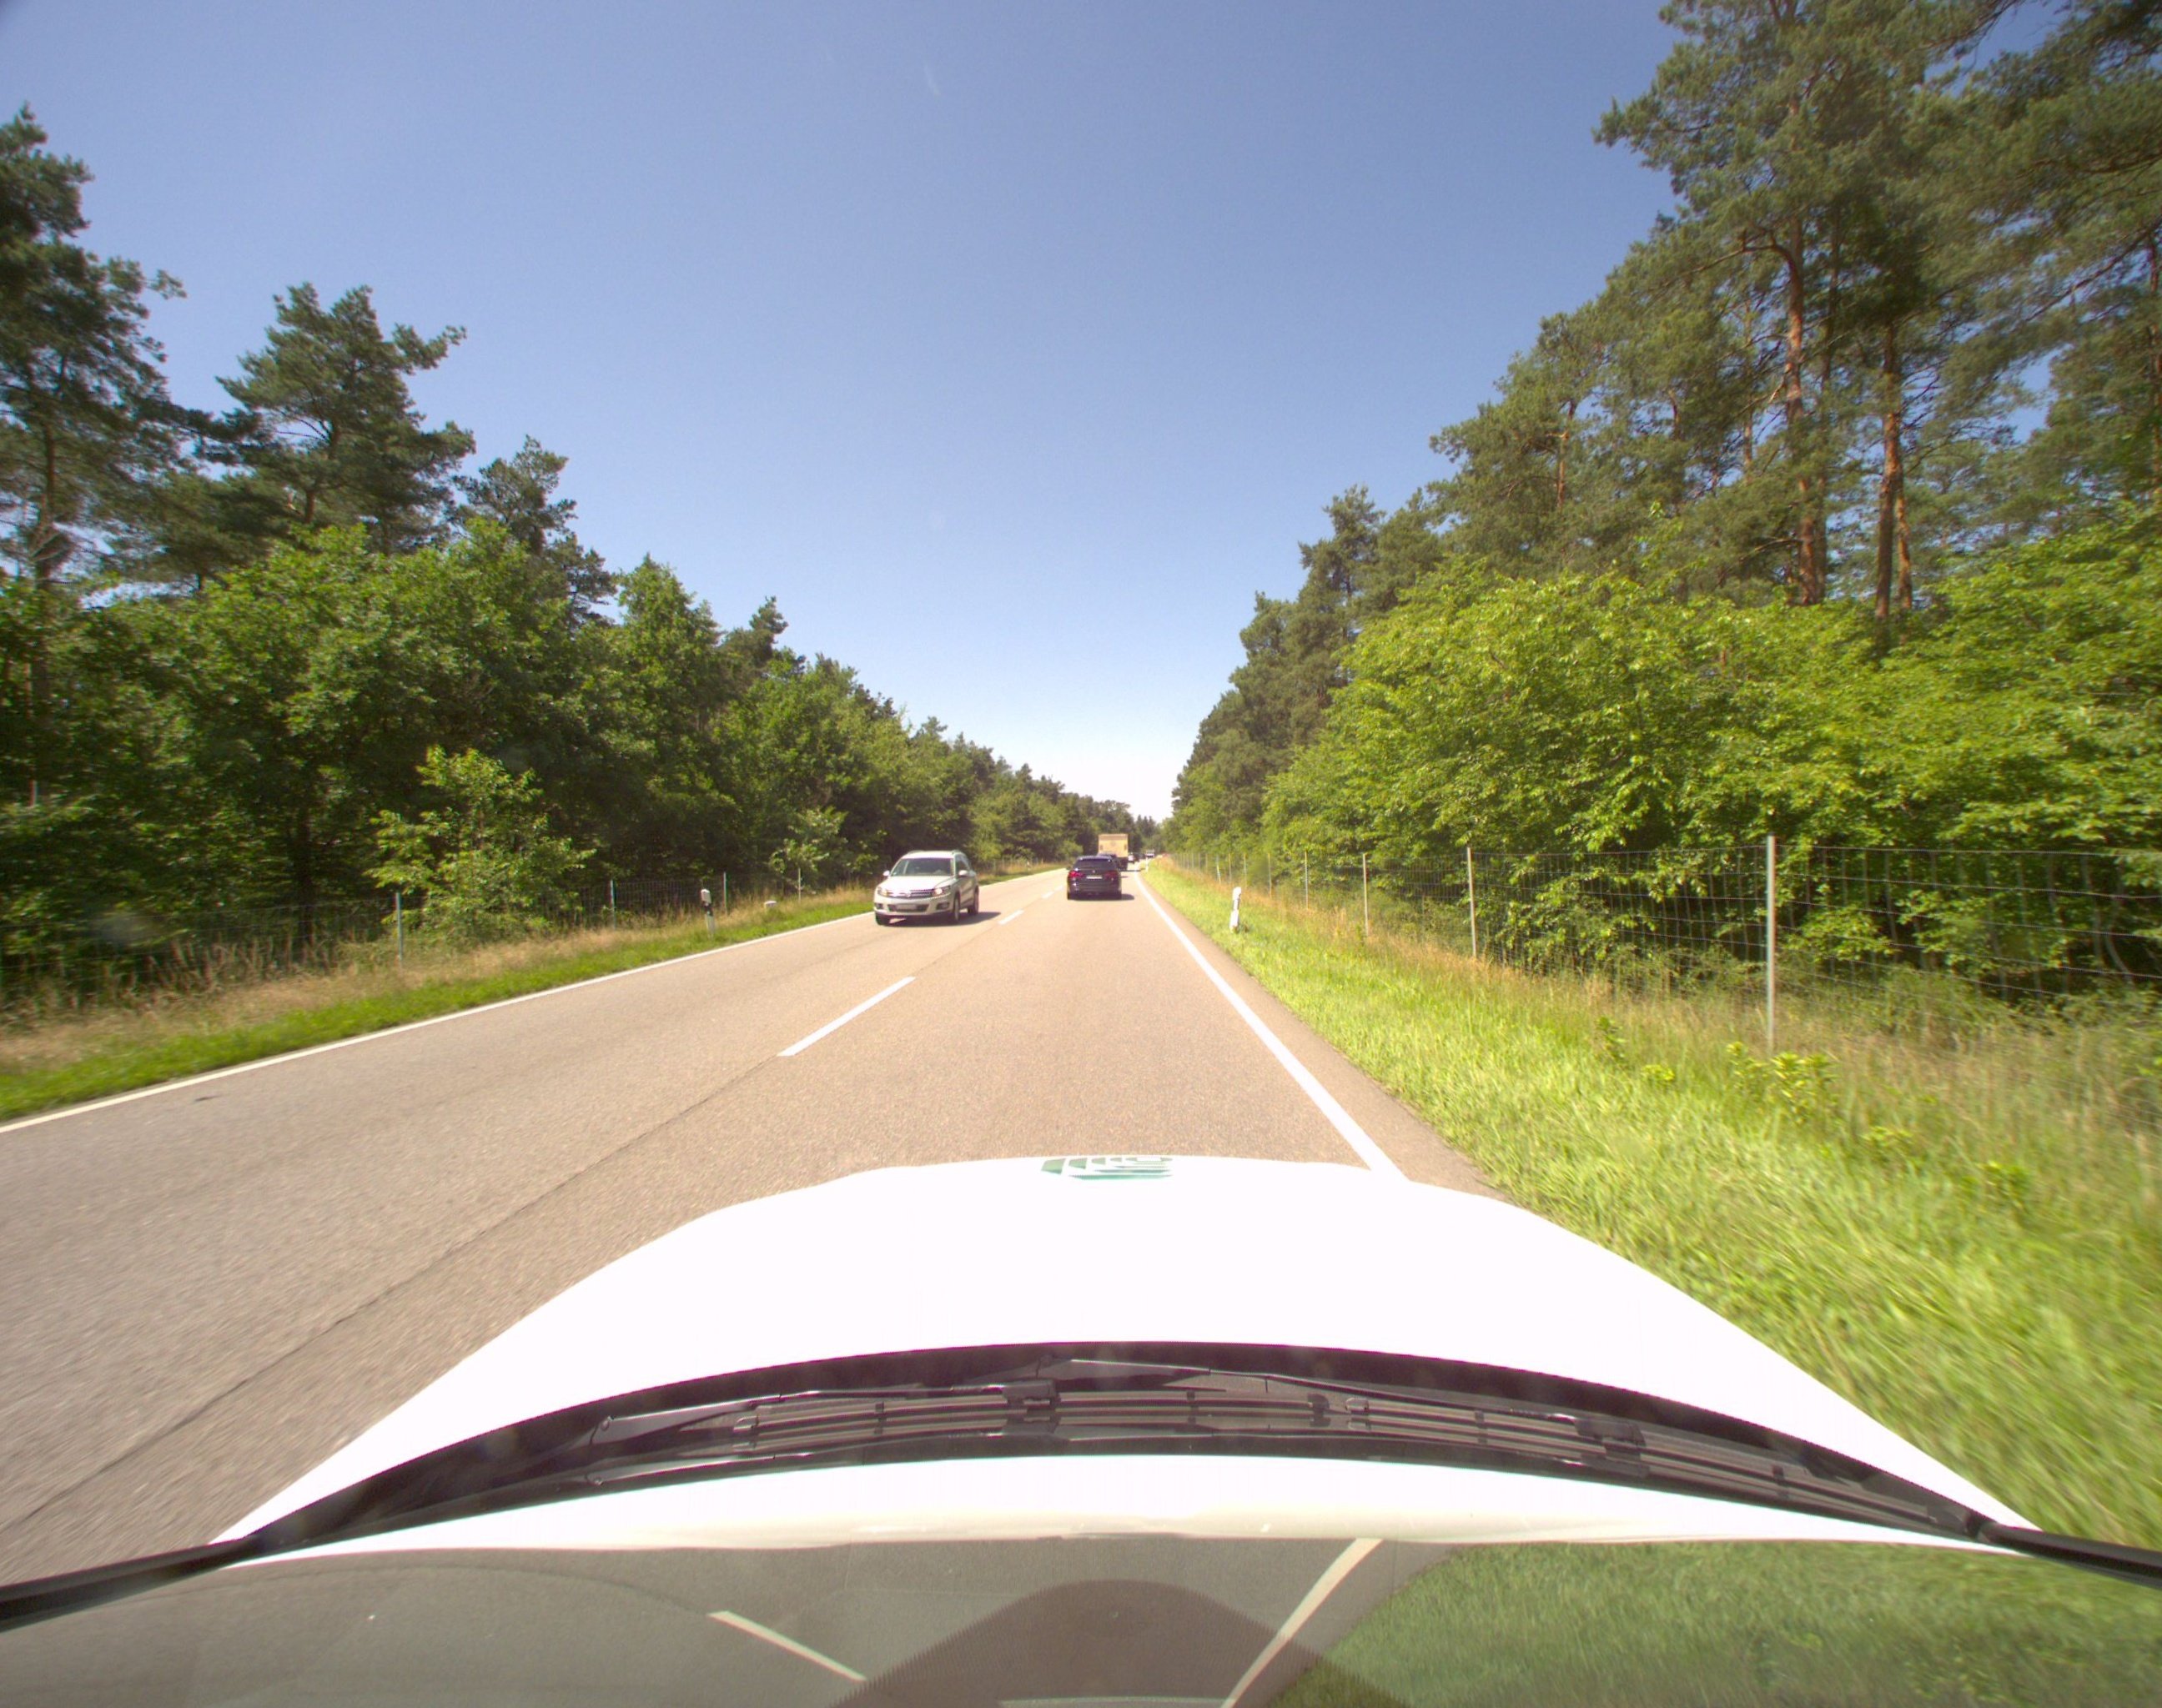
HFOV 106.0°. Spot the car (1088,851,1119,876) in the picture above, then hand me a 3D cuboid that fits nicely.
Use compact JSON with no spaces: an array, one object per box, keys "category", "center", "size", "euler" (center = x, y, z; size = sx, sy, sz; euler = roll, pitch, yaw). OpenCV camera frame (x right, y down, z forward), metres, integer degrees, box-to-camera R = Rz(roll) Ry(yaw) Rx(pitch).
[{"category":"car","center":[1.516,0.616,53.997],"size":[1.939,1.542,4.003],"euler":[-2,0,3]}]

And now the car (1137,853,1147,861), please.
[{"category":"car","center":[13.566,0.747,180.395],"size":[1.983,1.636,4.007],"euler":[-2,0,6]}]

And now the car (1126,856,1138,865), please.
[{"category":"car","center":[8.966,1.105,143.938],"size":[1.985,1.420,4.003],"euler":[-2,0,3]}]

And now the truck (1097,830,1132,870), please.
[{"category":"truck","center":[2.938,-0.374,72.783],"size":[2.955,3.387,6.440],"euler":[-1,0,1]}]

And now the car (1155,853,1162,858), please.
[{"category":"car","center":[22.389,0.473,235.181],"size":[1.784,1.354,3.939],"euler":[-1,0,10]}]

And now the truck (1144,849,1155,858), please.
[{"category":"truck","center":[17.291,-0.060,205.437],"size":[2.550,2.202,4.983],"euler":[-2,0,6]}]

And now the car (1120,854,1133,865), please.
[{"category":"car","center":[6.564,0.780,118.107],"size":[1.855,1.605,4.003],"euler":[-1,0,3]}]

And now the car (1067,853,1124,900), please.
[{"category":"car","center":[0.507,0.736,28.518],"size":[1.814,1.470,4.001],"euler":[-1,0,1]}]

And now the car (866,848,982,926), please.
[{"category":"car","center":[-3.604,0.692,19.441],"size":[1.856,1.629,4.093],"euler":[-1,0,1]}]
